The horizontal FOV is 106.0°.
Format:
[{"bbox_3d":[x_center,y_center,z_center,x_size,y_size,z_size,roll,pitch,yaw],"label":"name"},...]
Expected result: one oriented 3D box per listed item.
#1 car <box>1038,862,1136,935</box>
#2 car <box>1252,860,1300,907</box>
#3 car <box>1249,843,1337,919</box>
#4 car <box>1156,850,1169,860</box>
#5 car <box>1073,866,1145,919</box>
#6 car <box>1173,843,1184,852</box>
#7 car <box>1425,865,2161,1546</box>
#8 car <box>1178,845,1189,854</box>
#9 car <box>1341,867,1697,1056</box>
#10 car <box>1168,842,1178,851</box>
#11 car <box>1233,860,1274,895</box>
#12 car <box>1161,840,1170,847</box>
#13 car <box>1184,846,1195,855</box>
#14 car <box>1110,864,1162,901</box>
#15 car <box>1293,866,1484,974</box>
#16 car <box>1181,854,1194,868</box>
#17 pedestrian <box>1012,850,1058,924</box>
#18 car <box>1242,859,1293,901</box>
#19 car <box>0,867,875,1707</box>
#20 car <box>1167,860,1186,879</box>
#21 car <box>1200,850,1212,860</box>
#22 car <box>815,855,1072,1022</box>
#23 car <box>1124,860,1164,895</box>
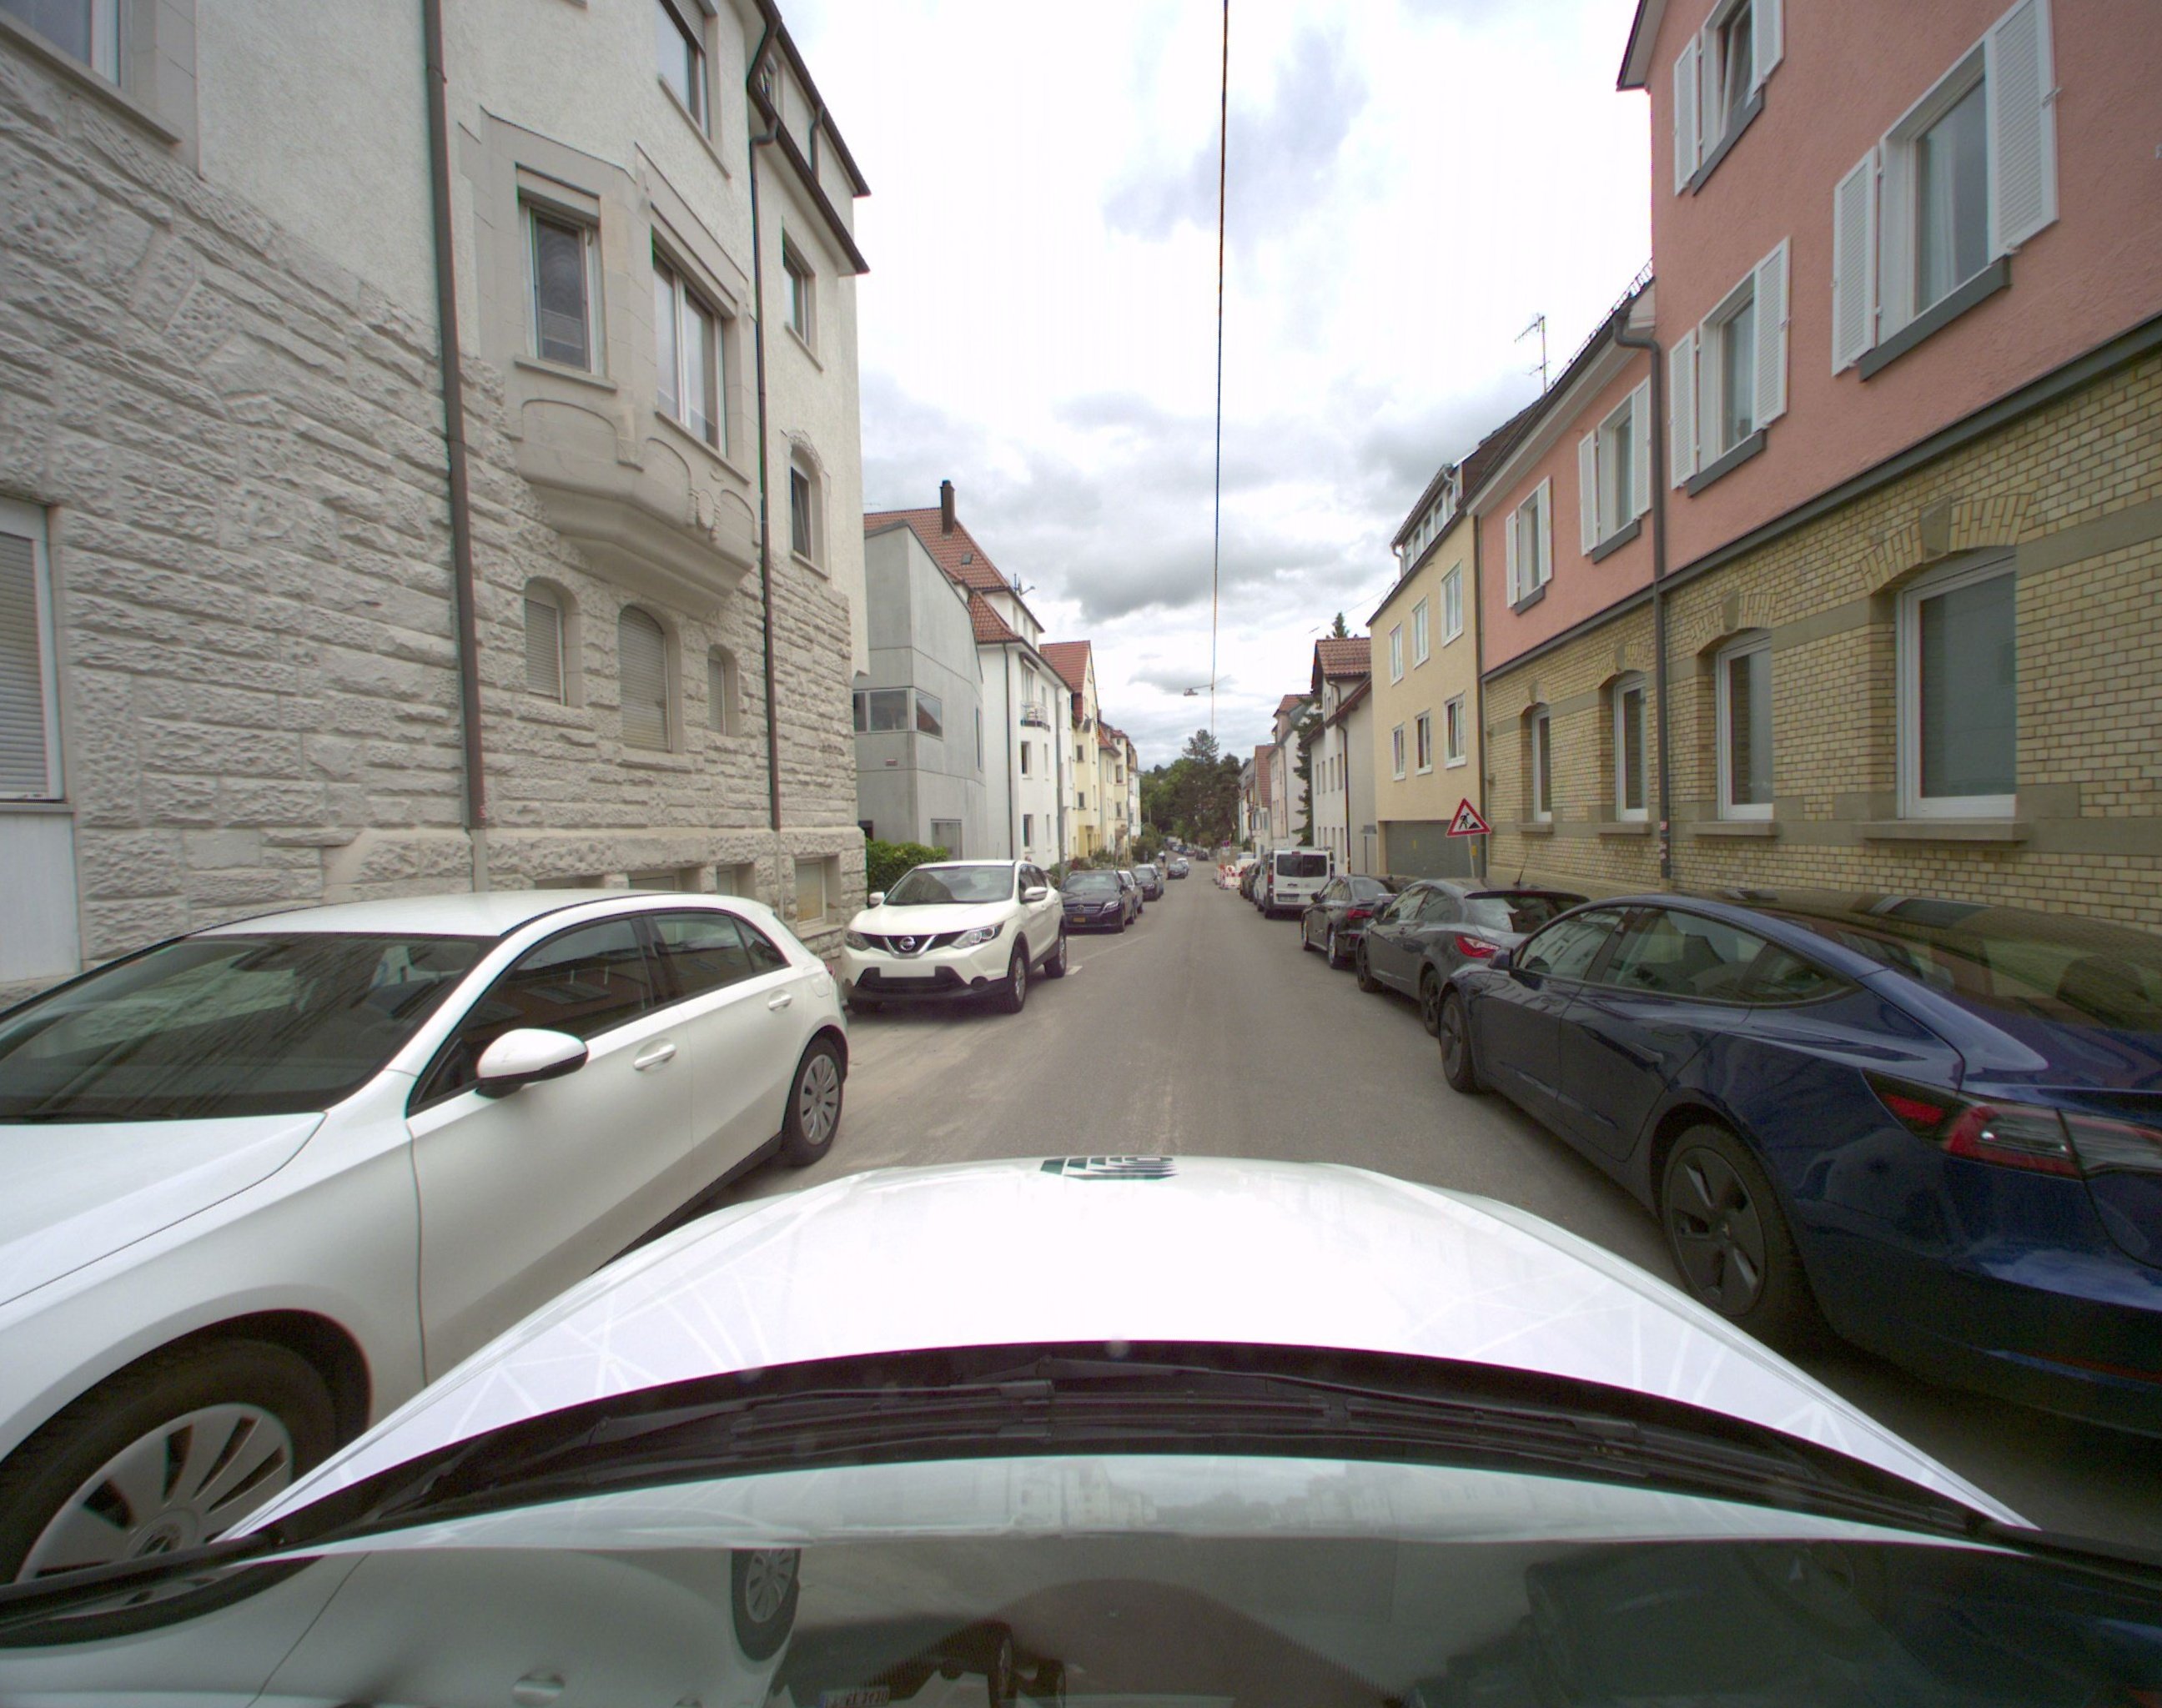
[{"bbox_3d":[0.277,0.994,19.908,1.886,1.527,4.479,-2,0,7],"label":"car"},{"bbox_3d":[7.018,1.014,29.528,1.478,1.596,2.798,0,0,9],"label":"car"},{"bbox_3d":[6.326,0.740,24.895,1.895,2.030,5.744,0,0,7],"label":"car"},{"bbox_3d":[15.034,0.220,149.755,1.669,1.656,3.858,-3,2,-4],"label":"car"},{"bbox_3d":[0.995,1.134,25.668,1.835,1.413,5.071,-2,0,7],"label":"car"},{"bbox_3d":[19.451,-1.276,162.693,1.629,1.537,3.530,0,3,0],"label":"car"},{"bbox_3d":[3.144,0.780,3.796,1.842,1.403,4.302,0,0,9],"label":"car"},{"bbox_3d":[19.739,-0.876,156.612,1.629,1.483,3.530,0,3,0],"label":"car"},{"bbox_3d":[4.060,0.871,8.384,1.843,1.403,3.973,0,0,5],"label":"car"},{"bbox_3d":[19.066,-1.564,168.717,1.629,1.537,3.530,0,3,0],"label":"car"},{"bbox_3d":[8.283,1.098,39.305,1.705,1.566,4.083,0,0,9],"label":"car"},{"bbox_3d":[19.062,-2.409,183.194,1.629,1.537,3.530,0,3,0],"label":"car"},{"bbox_3d":[20.233,-0.579,151.902,1.629,1.483,3.530,0,3,0],"label":"car"},{"bbox_3d":[2.475,1.206,35.779,1.834,1.457,4.515,-2,-1,9],"label":"car"},{"bbox_3d":[4.642,0.926,13.027,1.842,1.403,4.584,0,-2,7],"label":"car"},{"bbox_3d":[14.807,0.921,113.496,1.663,1.656,3.872,-2,2,8],"label":"car"},{"bbox_3d":[-1.219,0.862,21.556,0.809,1.884,0.852,-3,-1,31],"label":"pedestrian"},{"bbox_3d":[7.745,1.031,34.095,1.703,1.596,4.509,0,0,8],"label":"car"},{"bbox_3d":[-2.299,0.796,2.698,1.690,1.414,4.248,-2,0,7],"label":"car"},{"bbox_3d":[9.974,1.593,84.979,1.836,1.815,4.551,-2,-1,6],"label":"car"},{"bbox_3d":[21.414,0.176,139.503,1.628,1.483,3.532,0,3,1],"label":"car"},{"bbox_3d":[-1.310,0.797,9.632,1.835,1.515,4.248,-2,0,7],"label":"car"},{"bbox_3d":[3.309,1.176,41.961,1.835,1.631,4.294,-2,0,7],"label":"car"}]
